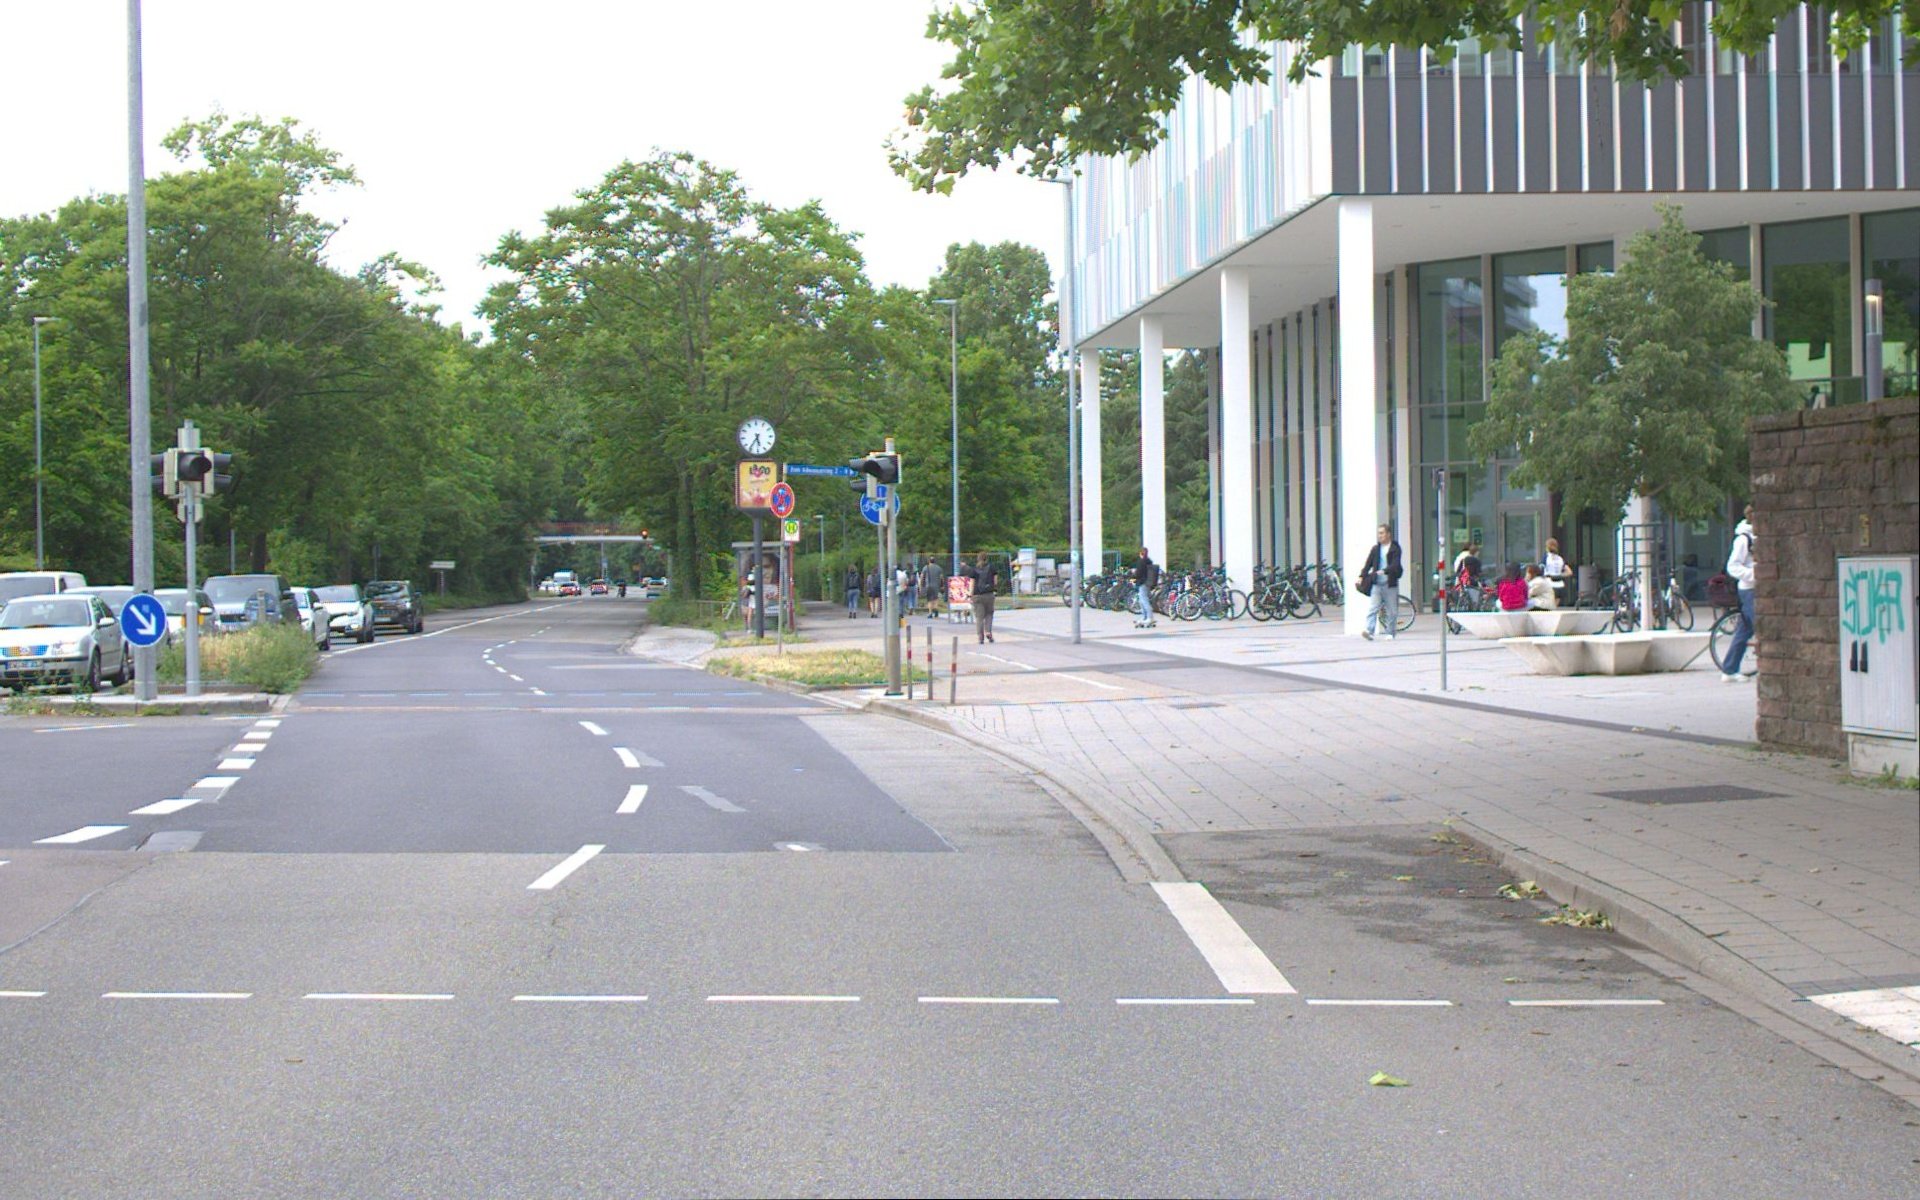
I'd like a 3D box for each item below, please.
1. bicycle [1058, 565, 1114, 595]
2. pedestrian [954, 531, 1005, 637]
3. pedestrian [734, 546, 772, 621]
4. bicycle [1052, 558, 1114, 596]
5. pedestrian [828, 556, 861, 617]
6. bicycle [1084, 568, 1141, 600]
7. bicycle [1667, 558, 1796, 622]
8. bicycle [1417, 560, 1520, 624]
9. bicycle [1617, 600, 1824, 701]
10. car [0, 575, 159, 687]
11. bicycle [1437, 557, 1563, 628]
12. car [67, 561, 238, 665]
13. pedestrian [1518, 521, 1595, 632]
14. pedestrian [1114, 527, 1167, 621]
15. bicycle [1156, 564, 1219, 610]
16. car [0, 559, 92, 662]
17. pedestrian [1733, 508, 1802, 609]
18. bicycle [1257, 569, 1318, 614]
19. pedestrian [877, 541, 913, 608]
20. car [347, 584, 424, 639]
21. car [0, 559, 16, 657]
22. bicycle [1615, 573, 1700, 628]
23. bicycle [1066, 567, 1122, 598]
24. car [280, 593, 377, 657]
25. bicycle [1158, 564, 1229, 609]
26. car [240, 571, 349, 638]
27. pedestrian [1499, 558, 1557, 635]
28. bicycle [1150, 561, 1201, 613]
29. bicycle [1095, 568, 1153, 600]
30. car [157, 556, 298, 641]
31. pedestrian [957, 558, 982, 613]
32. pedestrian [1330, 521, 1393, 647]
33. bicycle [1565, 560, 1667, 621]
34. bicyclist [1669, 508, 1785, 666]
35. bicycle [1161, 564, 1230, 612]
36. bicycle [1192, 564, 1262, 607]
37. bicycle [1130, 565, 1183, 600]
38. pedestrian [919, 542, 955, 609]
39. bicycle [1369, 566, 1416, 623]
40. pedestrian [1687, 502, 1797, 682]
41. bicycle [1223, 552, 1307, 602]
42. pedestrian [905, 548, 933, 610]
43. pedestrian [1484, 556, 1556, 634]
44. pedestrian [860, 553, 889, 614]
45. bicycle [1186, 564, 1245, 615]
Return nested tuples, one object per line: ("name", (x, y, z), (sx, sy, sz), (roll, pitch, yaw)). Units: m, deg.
("bicycle", (3.827, -0.607, 104.621), (1.606, 0.872, 0.556), (-2, 1, -4))
("pedestrian", (0.372, -0.308, 67.074), (0.842, 2.007, 0.894), (-3, 1, -3))
("pedestrian", (-5.707, -0.462, 94.770), (0.912, 2.006, 0.854), (-3, 3, -5))
("bicycle", (3.810, -0.720, 106.621), (1.794, 1.078, 0.626), (-3, 1, -6))
("pedestrian", (-3.811, -0.446, 113.316), (0.925, 2.007, 1.040), (-1, 0, -9))
("bicycle", (4.535, -0.482, 102.101), (1.606, 0.872, 0.556), (-2, 1, -4))
("bicycle", (12.743, -0.168, 56.735), (2.185, 1.002, 0.782), (-2, 1, -34))
("bicycle", (9.250, -0.156, 62.521), (0.736, 1.112, 2.178), (-1, 1, 43))
("bicycle", (8.021, 0.521, 36.299), (1.973, 1.014, 0.794), (1, 1, 35))
("car", (-13.251, 0.428, 50.099), (1.993, 1.524, 4.274), (-1, 1, 2))
("bicycle", (9.625, -0.144, 61.142), (0.774, 1.184, 2.713), (-1, 1, 44))
("car", (-13.588, 0.190, 58.099), (1.957, 1.578, 4.256), (-2, 1, -2))
("pedestrian", (9.976, -0.401, 57.492), (0.843, 1.829, 0.894), (-1, 1, -35))
("pedestrian", (3.912, -0.561, 74.430), (0.892, 2.007, 0.844), (-1, 0, 22))
("bicycle", (5.500, -0.315, 83.112), (1.400, 1.040, 0.559), (-3, 1, -4))
("car", (-17.603, 0.157, 64.256), (1.771, 1.841, 4.489), (1, 1, -3))
("pedestrian", (16.611, -0.850, 70.698), (1.183, 2.055, 1.134), (1, 0, 22))
("bicycle", (7.147, -0.192, 75.044), (1.484, 0.926, 0.440), (-3, 3, -43))
("pedestrian", (-1.990, -0.786, 104.612), (0.925, 2.007, 1.040), (-1, 0, -9))
("car", (-17.618, 0.339, 105.581), (1.902, 1.588, 4.517), (-1, 1, -4))
("car", (-16.829, 0.165, 55.403), (1.993, 1.614, 4.000), (-1, 1, 2))
("bicycle", (11.920, 0.003, 58.715), (0.671, 0.896, 1.842), (-1, 1, 37))
("bicycle", (4.036, -0.524, 103.674), (1.606, 0.872, 0.556), (-2, 1, -4))
("car", (-16.430, 0.630, 89.578), (1.993, 1.541, 4.180), (-2, 1, -4))
("bicycle", (5.684, -0.333, 83.695), (1.606, 0.979, 0.556), (-4, 1, -4))
("car", (-15.289, 0.076, 79.138), (1.903, 1.460, 4.912), (1, 1, -5))
("pedestrian", (9.052, -0.058, 54.776), (0.892, 1.189, 0.845), (-1, 1, 10))
("bicycle", (4.976, -0.307, 79.477), (0.635, 1.136, 2.201), (-4, 1, -9))
("bicycle", (4.807, -0.481, 100.927), (1.606, 0.872, 0.556), (-2, 1, -4))
("car", (-15.149, -0.056, 71.341), (1.993, 1.681, 4.948), (0, 1, -2))
("pedestrian", (0.278, -0.441, 104.975), (0.729, 1.678, 0.747), (1, 0, -1))
("pedestrian", (6.500, -0.264, 55.643), (0.842, 2.007, 0.894), (-1, 0, -3))
("bicycle", (11.328, -0.161, 59.315), (0.774, 0.998, 1.955), (-1, 1, 44))
("bicyclist", (8.091, -0.144, 36.272), (0.968, 1.640, 0.734), (1, 0, 35))
("bicycle", (5.849, -0.296, 85.294), (1.644, 1.087, 0.572), (-4, 0, 4))
("bicycle", (6.403, -0.350, 82.347), (1.606, 0.932, 0.568), (-3, 1, 6))
("bicycle", (5.143, -0.456, 90.056), (1.283, 0.872, 0.556), (-2, 1, -4))
("pedestrian", (-0.710, -0.757, 104.655), (0.925, 2.007, 1.040), (-1, 0, -7))
("bicycle", (8.125, -0.112, 64.596), (0.638, 1.058, 1.840), (1, 1, 0))
("pedestrian", (7.908, -0.083, 34.764), (0.782, 1.789, 0.788), (-1, 1, 39))
("bicycle", (7.574, -0.572, 85.496), (1.985, 1.140, 0.647), (-2, 1, 37))
("pedestrian", (-1.357, -0.693, 113.891), (0.824, 2.007, 0.720), (-2, 0, -5))
("pedestrian", (8.807, -0.082, 54.085), (0.844, 1.202, 0.893), (-1, 1, 30))
("pedestrian", (-2.809, -0.544, 113.138), (0.823, 2.007, 0.720), (-1, 0, -9))
("bicycle", (5.692, -0.236, 76.716), (0.607, 1.076, 1.963), (-3, 1, -16))
